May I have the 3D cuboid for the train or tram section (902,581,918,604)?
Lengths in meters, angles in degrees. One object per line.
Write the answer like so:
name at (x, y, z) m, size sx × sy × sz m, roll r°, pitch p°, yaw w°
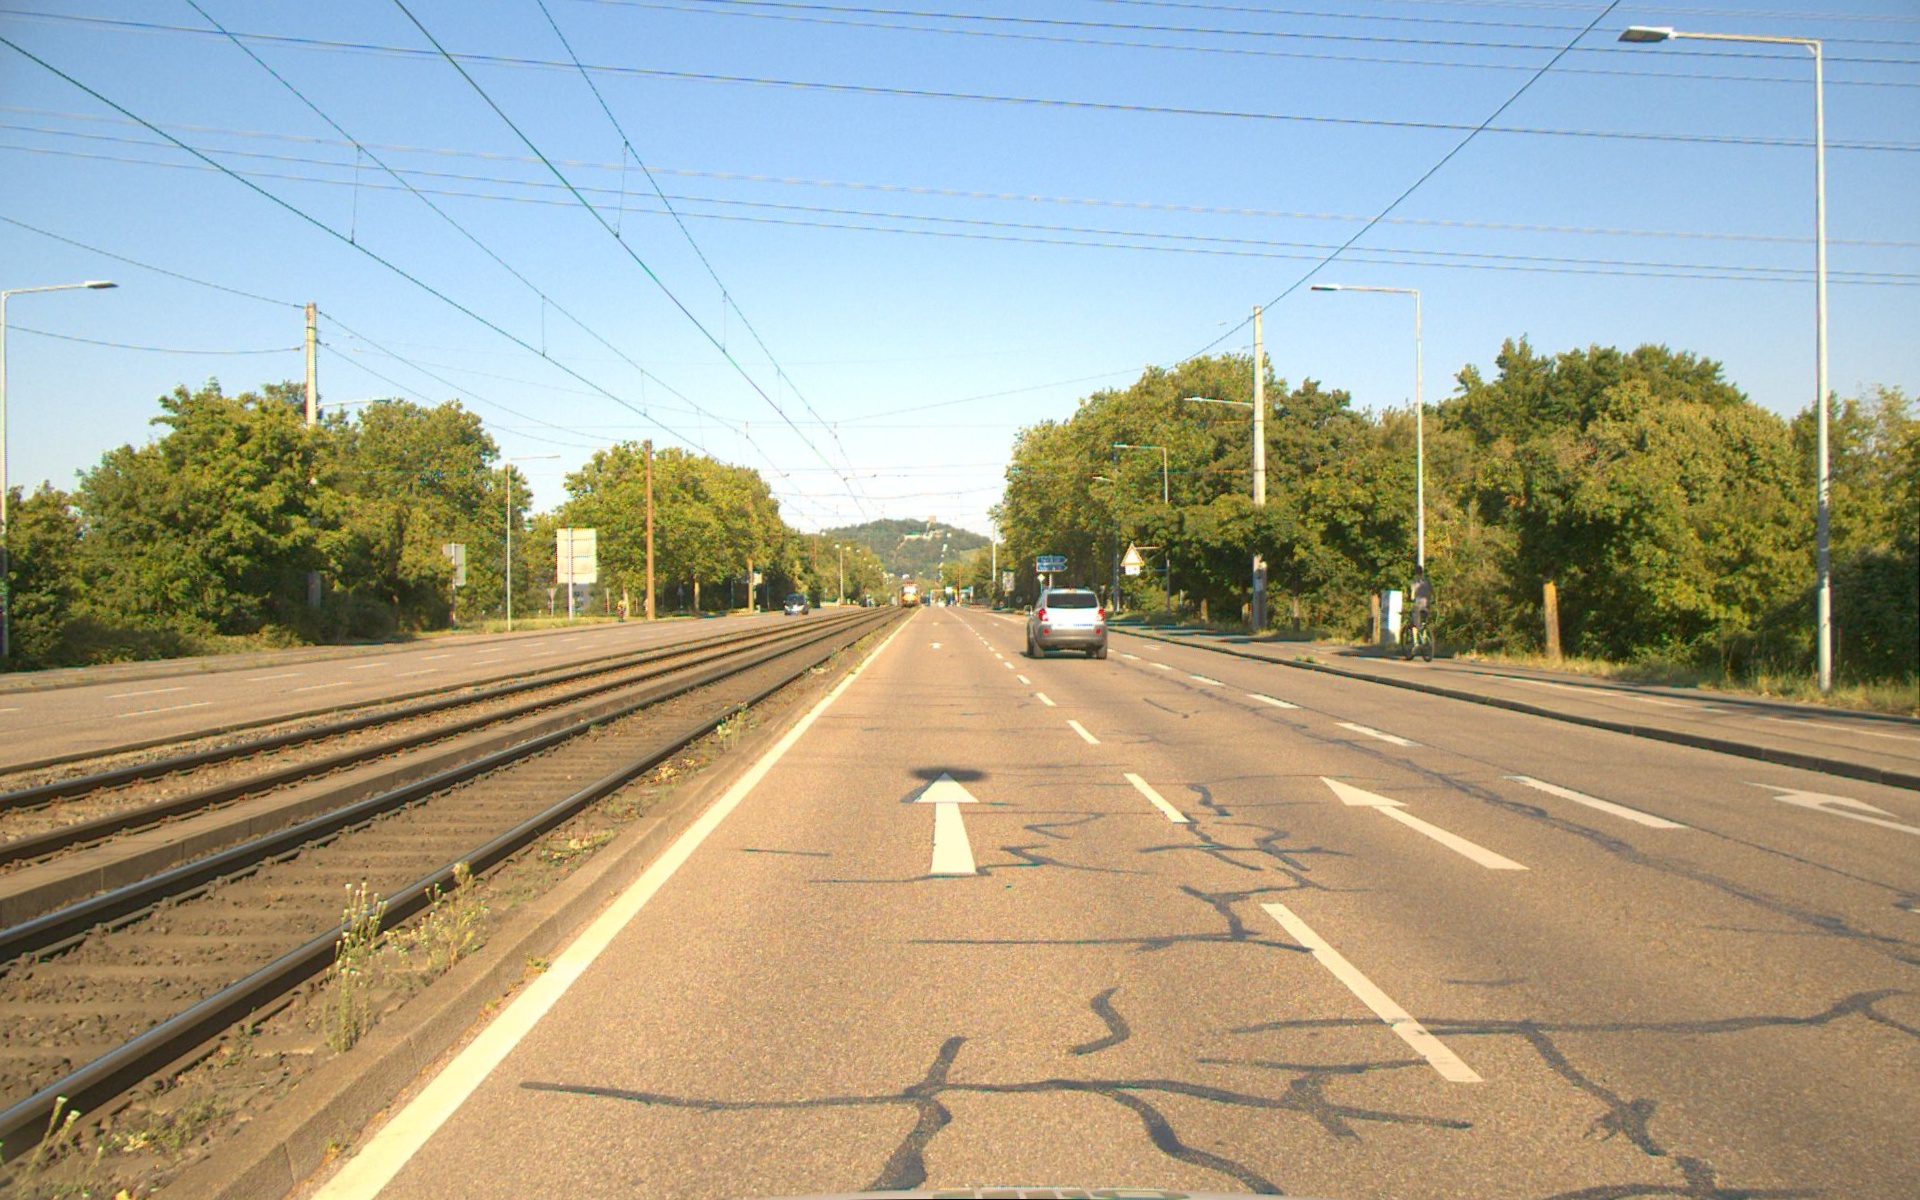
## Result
train or tram section at (-7.764, -1.115, 256.334) m, size 2.264 × 3.273 × 9.473 m, roll 2°, pitch 0°, yaw -1°

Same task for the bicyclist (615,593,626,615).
bicyclist at (-23.545, 0.290, 114.710) m, size 0.578 × 1.555 × 0.906 m, roll 0°, pitch -1°, yaw -2°

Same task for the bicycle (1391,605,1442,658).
bicycle at (9.685, 0.649, 35.169) m, size 0.516 × 1.079 × 1.971 m, roll 2°, pitch 0°, yaw 0°

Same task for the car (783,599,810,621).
car at (-15.113, 0.957, 153.466) m, size 1.952 × 1.956 × 4.860 m, roll -1°, pitch 0°, yaw 0°

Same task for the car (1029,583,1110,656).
car at (2.707, 0.476, 41.642) m, size 1.849 × 1.723 × 4.257 m, roll 0°, pitch 0°, yaw 1°

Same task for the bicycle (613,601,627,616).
bicycle at (-23.544, 0.565, 114.618) m, size 0.578 × 1.040 × 2.185 m, roll 0°, pitch 0°, yaw -2°

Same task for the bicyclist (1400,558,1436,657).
bicyclist at (9.683, 0.166, 34.978) m, size 0.516 × 2.052 × 0.729 m, roll 2°, pitch -1°, yaw 0°
